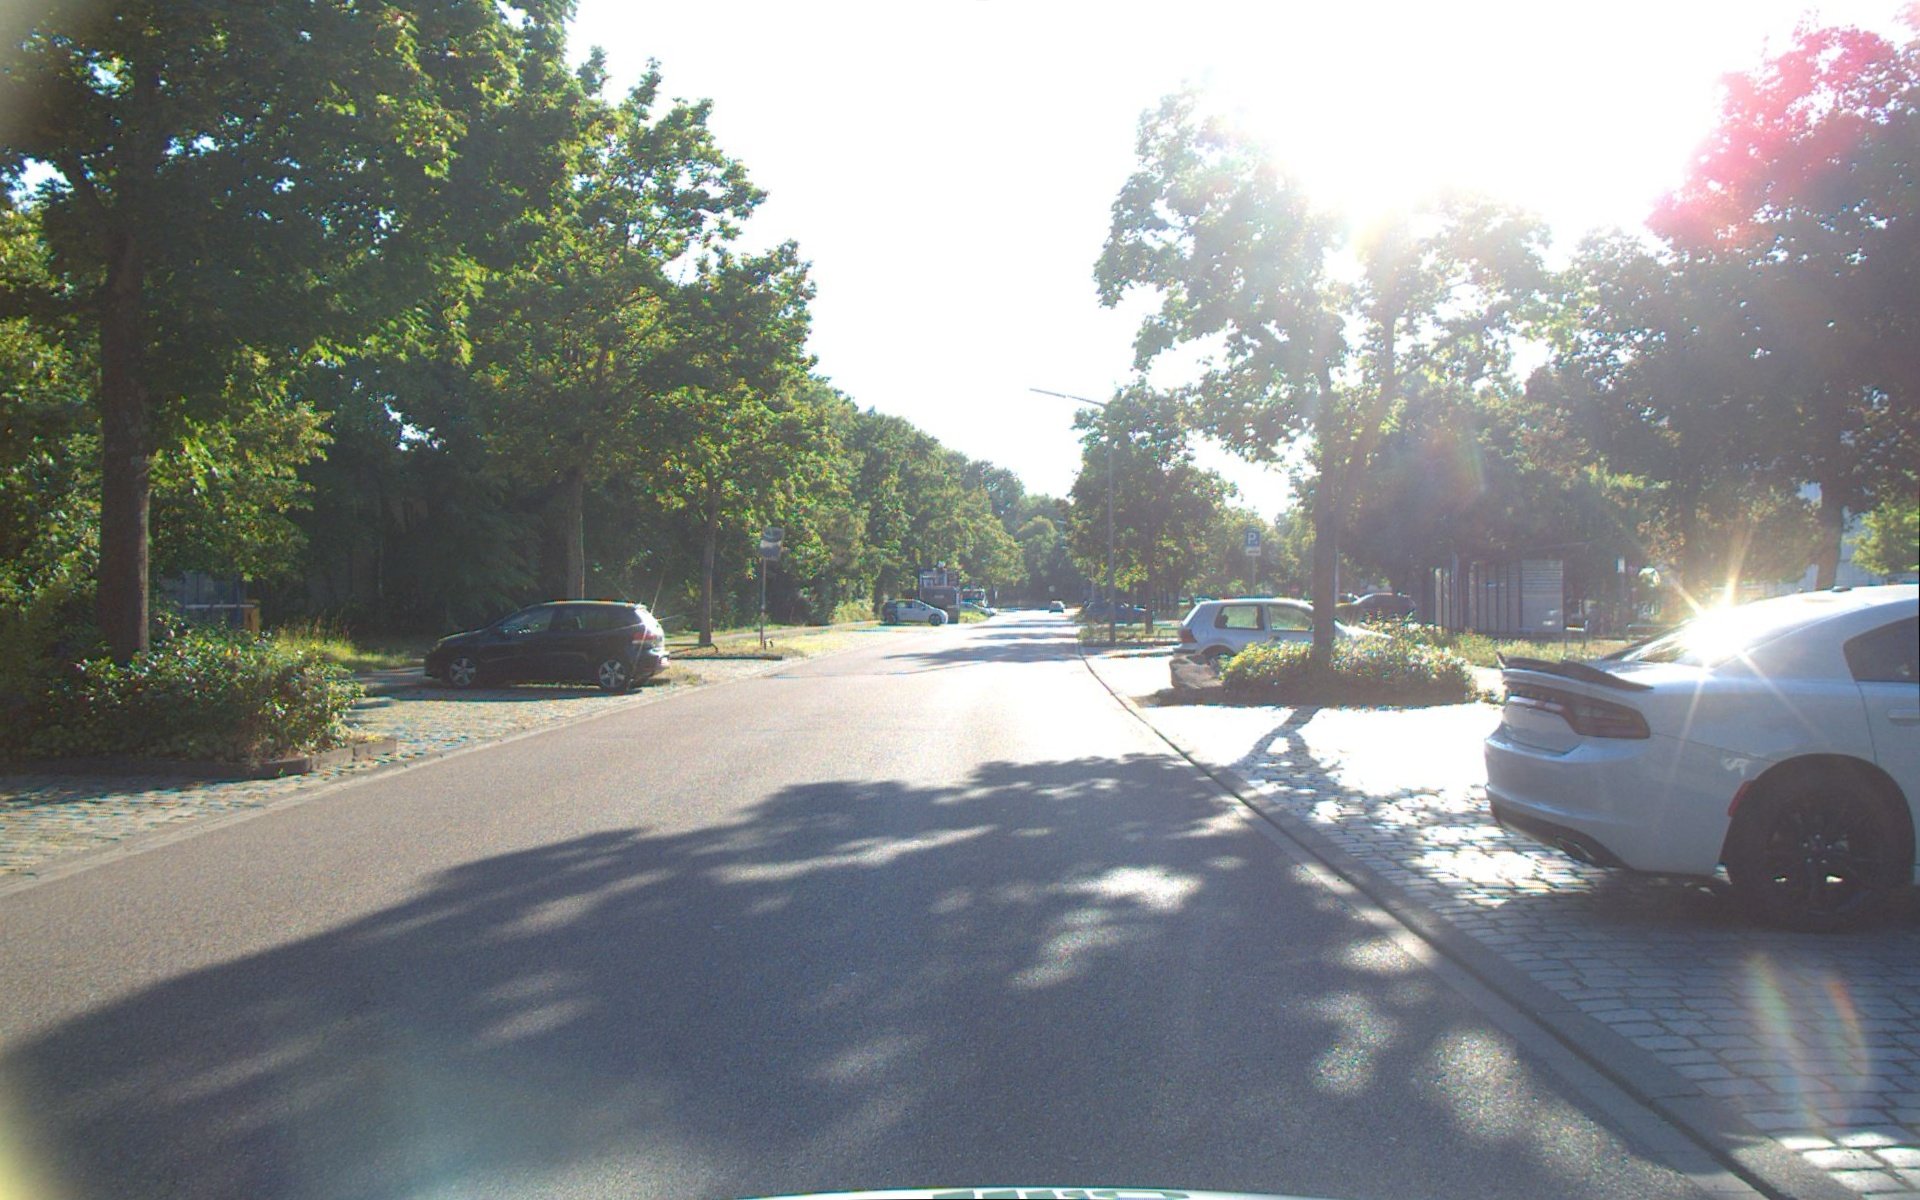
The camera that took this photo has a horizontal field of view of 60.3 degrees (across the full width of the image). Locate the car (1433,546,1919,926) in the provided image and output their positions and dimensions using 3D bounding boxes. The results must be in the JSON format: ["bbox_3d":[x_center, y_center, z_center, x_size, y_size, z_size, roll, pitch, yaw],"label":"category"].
[{"bbox_3d":[5.206,0.544,8.220,5.071,1.601,2.157,-1,0,-2],"label":"car"}]

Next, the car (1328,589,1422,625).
[{"bbox_3d":[21.260,0.349,84.912,4.337,1.735,2.060,-1,0,2],"label":"car"}]

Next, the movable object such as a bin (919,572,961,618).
[{"bbox_3d":[-1.376,-0.340,114.626,2.780,3.122,4.926,-1,0,-1],"label":"movable object such as a bin"}]

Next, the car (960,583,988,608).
[{"bbox_3d":[1.367,-0.488,164.237,2.466,2.427,4.370,-1,0,-3],"label":"car"}]

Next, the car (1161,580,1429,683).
[{"bbox_3d":[5.677,0.531,28.255,4.265,1.505,2.002,-3,0,10],"label":"car"}]

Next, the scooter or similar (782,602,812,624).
[{"bbox_3d":[-8.623,0.689,87.503,0.567,1.165,1.574,-1,0,43],"label":"scooter or similar"}]

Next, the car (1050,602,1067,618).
[{"bbox_3d":[12.336,1.270,207.652,1.952,1.937,4.001,0,0,2],"label":"car"}]

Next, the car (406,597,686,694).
[{"bbox_3d":[-7.057,0.754,28.523,4.269,1.505,2.000,1,0,0],"label":"car"}]

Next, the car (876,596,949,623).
[{"bbox_3d":[-2.899,0.572,101.901,4.266,1.574,2.001,-1,0,4],"label":"car"}]

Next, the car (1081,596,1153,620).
[{"bbox_3d":[10.463,0.552,110.544,4.739,1.505,2.001,-1,0,4],"label":"car"}]

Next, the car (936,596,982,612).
[{"bbox_3d":[-0.100,0.375,154.794,4.271,1.505,1.999,-1,0,-3],"label":"car"}]
